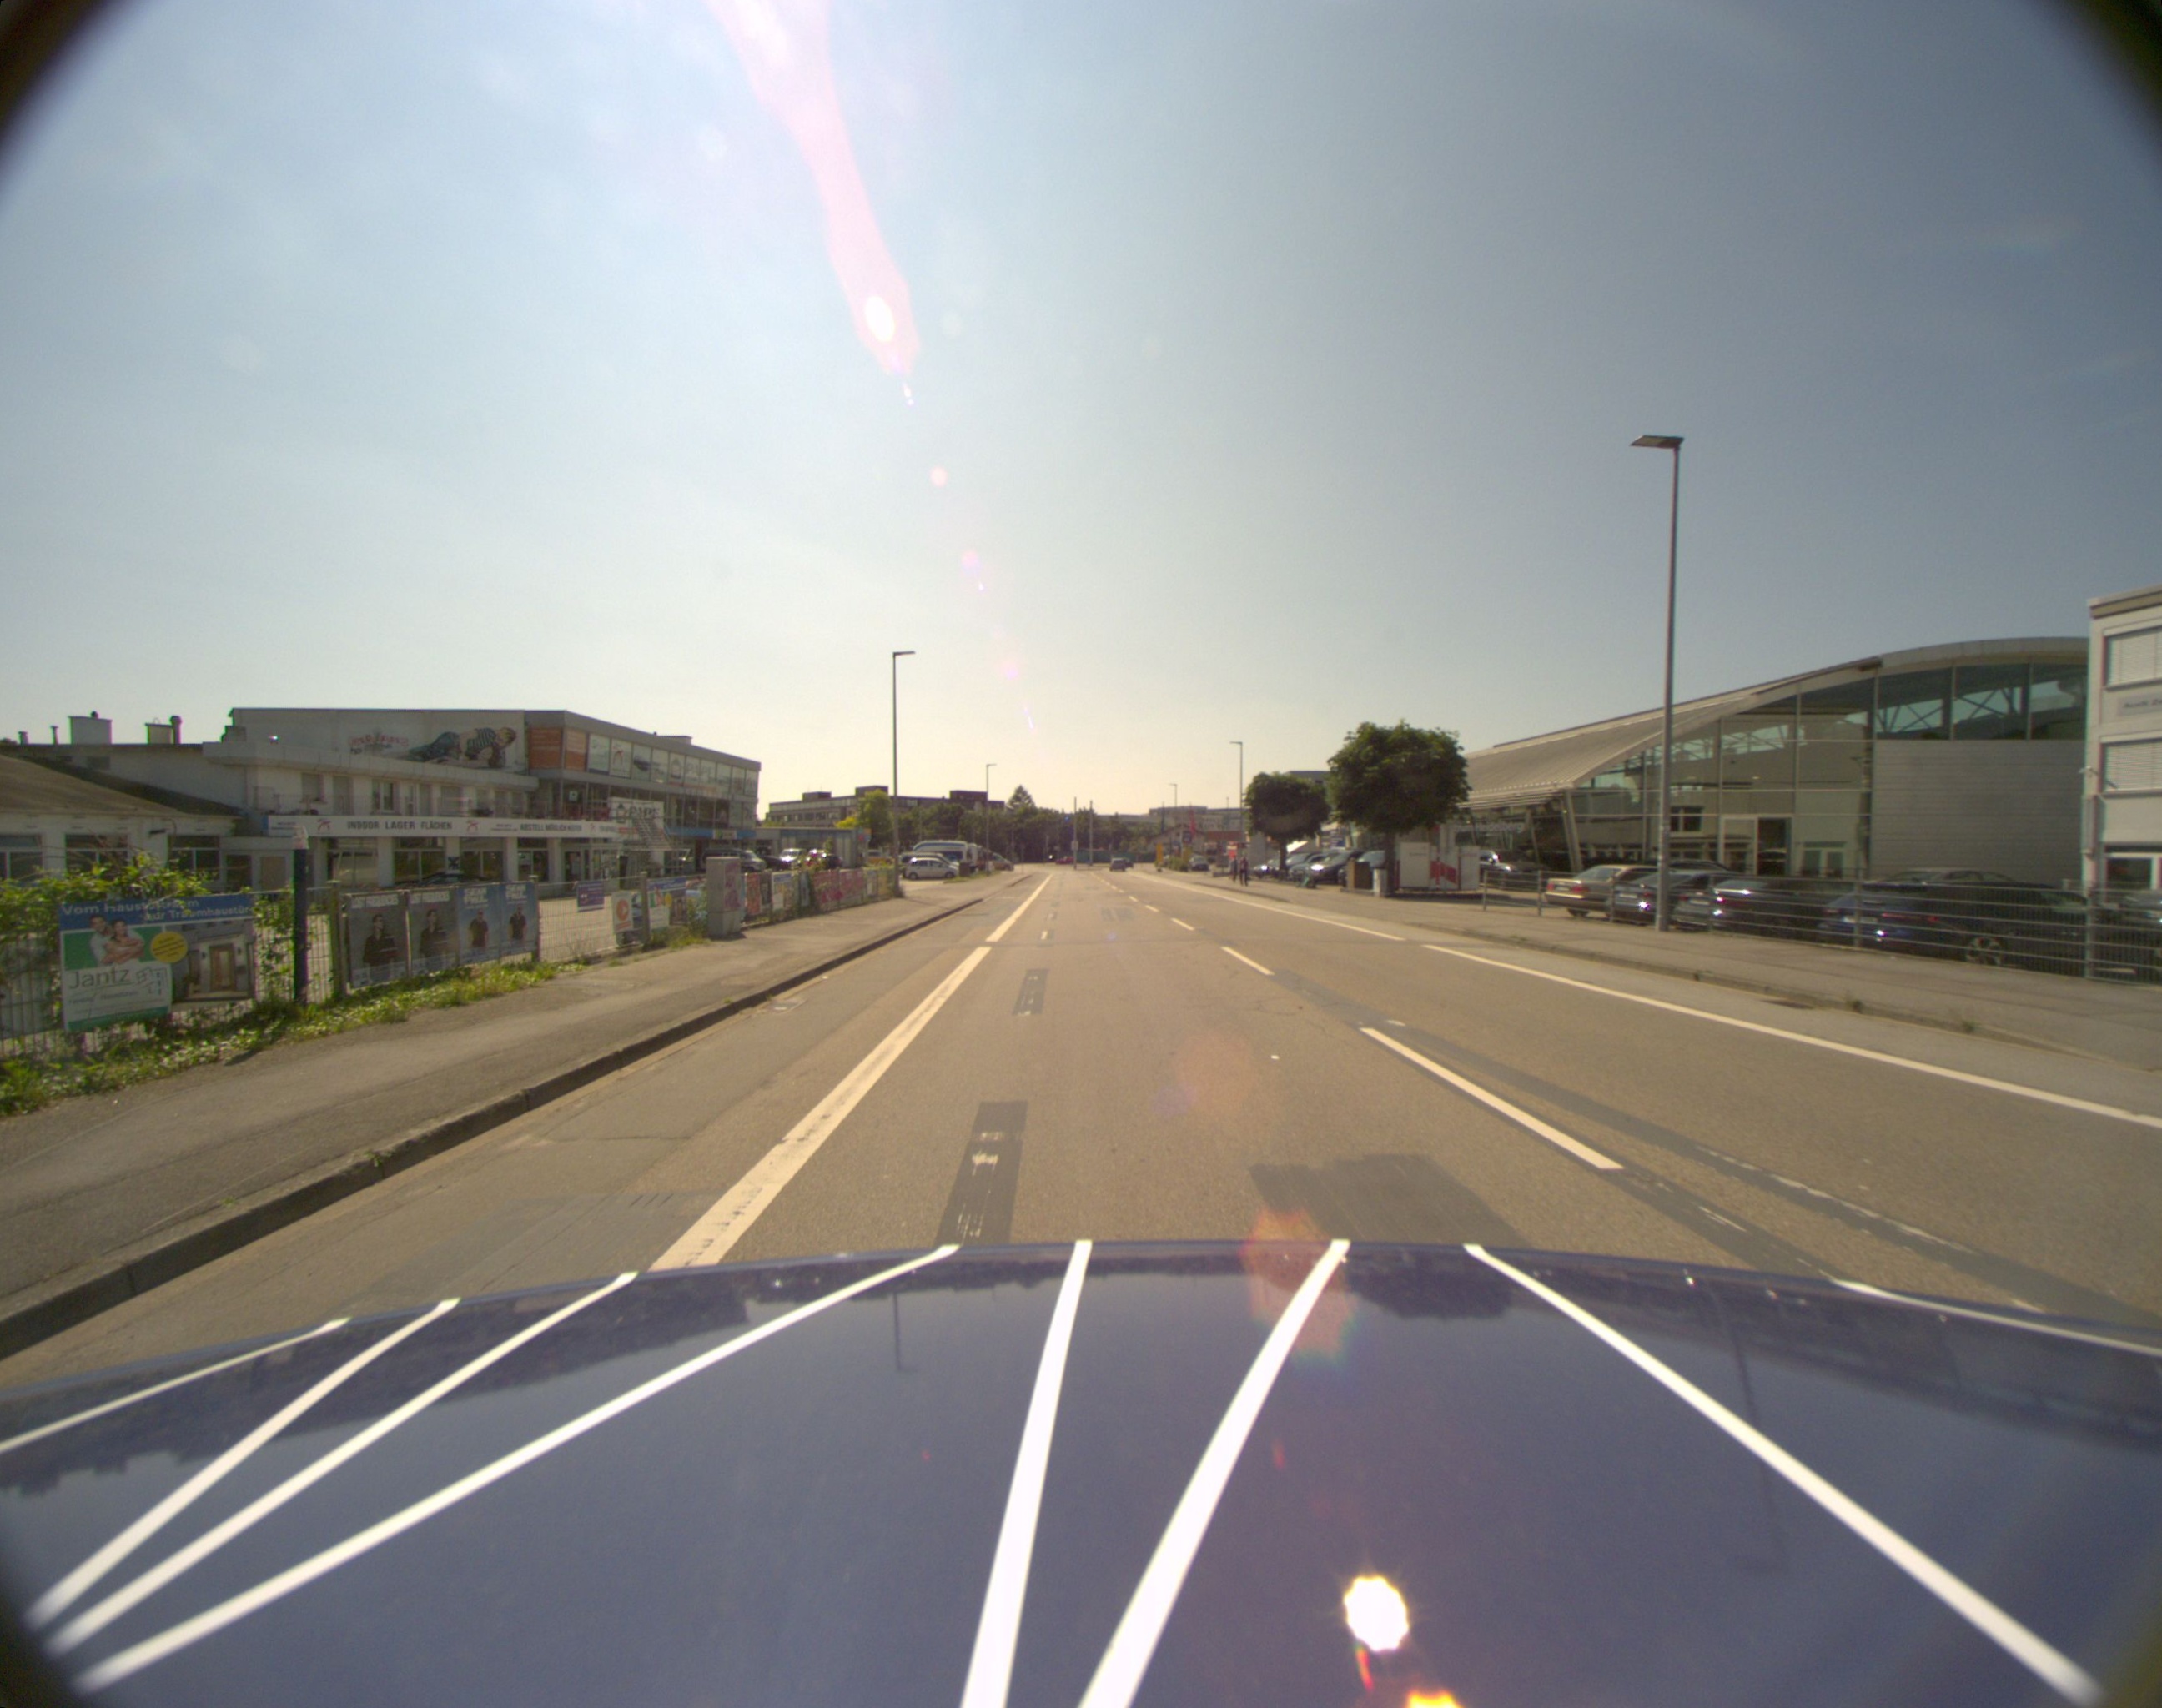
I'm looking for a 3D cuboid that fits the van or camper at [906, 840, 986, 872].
[{"bbox_3d":[-11.470,0.149,64.884,6.366,2.684,2.712,0,0,-1],"label":"van or camper"}]

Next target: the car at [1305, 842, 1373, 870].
[{"bbox_3d":[17.575,0.149,51.993,2.001,1.709,4.725,-4,1,-16],"label":"car"}]

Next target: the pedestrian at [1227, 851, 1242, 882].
[{"bbox_3d":[9.372,0.766,46.410,0.725,1.838,0.911,0,1,0],"label":"pedestrian"}]

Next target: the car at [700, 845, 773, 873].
[{"bbox_3d":[-29.912,0.422,66.127,5.312,2.405,2.325,0,0,-4],"label":"car"}]

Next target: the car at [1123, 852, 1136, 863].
[{"bbox_3d":[6.527,0.496,102.317,1.664,1.446,4.241,2,0,2],"label":"car"}]

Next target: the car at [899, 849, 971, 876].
[{"bbox_3d":[-11.320,0.662,59.310,5.248,1.940,2.000,1,0,-1],"label":"car"}]

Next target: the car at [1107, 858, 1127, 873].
[{"bbox_3d":[4.033,1.295,85.294,1.747,1.396,4.323,8,0,-2],"label":"car"}]

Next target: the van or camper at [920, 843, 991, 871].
[{"bbox_3d":[-11.544,0.247,70.408,6.212,2.510,2.618,0,0,-1],"label":"van or camper"}]

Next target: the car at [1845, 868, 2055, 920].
[{"bbox_3d":[24.989,1.126,21.960,3.997,1.351,1.859,-1,0,-1],"label":"car"}]

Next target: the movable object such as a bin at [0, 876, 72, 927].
[{"bbox_3d":[-32.588,1.428,23.051,1.575,1.447,1.754,-1,0,-6],"label":"movable object such as a bin"}]

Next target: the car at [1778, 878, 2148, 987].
[{"bbox_3d":[14.097,1.200,12.310,3.999,1.482,1.857,0,3,-5],"label":"car"}]

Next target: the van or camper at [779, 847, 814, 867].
[{"bbox_3d":[-28.965,0.272,77.554,2.124,2.002,5.112,0,0,-6],"label":"van or camper"}]

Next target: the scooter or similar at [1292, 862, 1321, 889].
[{"bbox_3d":[10.878,1.021,36.729,0.746,1.240,1.489,-1,0,-9],"label":"scooter or similar"}]

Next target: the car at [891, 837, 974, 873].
[{"bbox_3d":[-12.021,0.061,61.855,6.244,2.853,2.320,0,0,-1],"label":"car"}]

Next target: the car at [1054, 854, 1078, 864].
[{"bbox_3d":[-2.708,0.946,136.329,3.989,1.696,2.004,-1,0,35],"label":"car"}]

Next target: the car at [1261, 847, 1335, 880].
[{"bbox_3d":[13.447,0.548,47.008,4.490,1.599,1.961,-5,-2,-36],"label":"car"}]

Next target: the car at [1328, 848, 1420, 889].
[{"bbox_3d":[13.860,0.652,35.863,4.489,1.698,1.906,-2,1,-36],"label":"car"}]

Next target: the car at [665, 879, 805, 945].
[{"bbox_3d":[-9.708,1.536,21.254,3.819,1.607,1.897,-1,0,36],"label":"car"}]

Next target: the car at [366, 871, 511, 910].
[{"bbox_3d":[-27.211,1.504,32.299,4.563,1.283,1.890,-3,1,-43],"label":"car"}]

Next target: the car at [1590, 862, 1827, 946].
[{"bbox_3d":[14.071,1.088,17.197,3.900,1.436,1.822,-4,3,-2],"label":"car"}]

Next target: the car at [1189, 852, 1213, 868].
[{"bbox_3d":[12.432,0.609,78.962,1.909,1.705,4.000,0,0,1],"label":"car"}]

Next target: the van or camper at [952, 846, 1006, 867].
[{"bbox_3d":[-13.014,0.262,97.238,6.376,2.621,2.526,0,0,-37],"label":"van or camper"}]

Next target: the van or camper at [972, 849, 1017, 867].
[{"bbox_3d":[-10.478,0.470,91.914,4.991,2.033,2.037,0,1,-31],"label":"van or camper"}]

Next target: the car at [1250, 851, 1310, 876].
[{"bbox_3d":[13.188,0.606,50.246,4.169,1.451,1.902,-2,1,-44],"label":"car"}]

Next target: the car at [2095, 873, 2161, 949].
[{"bbox_3d":[24.966,1.201,16.242,4.366,1.544,1.858,-1,0,-4],"label":"car"}]

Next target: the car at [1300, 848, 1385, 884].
[{"bbox_3d":[13.449,0.593,38.981,4.589,1.687,1.854,-1,0,-36],"label":"car"}]

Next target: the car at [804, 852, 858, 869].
[{"bbox_3d":[-23.826,0.611,72.460,4.551,1.668,1.999,0,0,-5],"label":"car"}]

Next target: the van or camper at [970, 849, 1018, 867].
[{"bbox_3d":[-10.141,0.488,88.961,5.145,1.950,1.981,1,1,-31],"label":"van or camper"}]

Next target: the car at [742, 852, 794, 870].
[{"bbox_3d":[-29.515,0.635,71.714,4.117,1.723,1.999,0,0,-5],"label":"car"}]

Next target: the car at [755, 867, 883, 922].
[{"bbox_3d":[-9.556,1.387,27.537,5.033,1.613,2.026,-1,5,42],"label":"car"}]

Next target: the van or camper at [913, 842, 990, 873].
[{"bbox_3d":[-11.470,0.316,67.727,6.366,2.700,2.712,0,0,-1],"label":"van or camper"}]

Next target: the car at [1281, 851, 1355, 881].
[{"bbox_3d":[13.391,0.631,42.859,4.210,1.486,1.869,-3,2,-36],"label":"car"}]

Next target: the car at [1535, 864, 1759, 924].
[{"bbox_3d":[14.694,1.001,19.907,4.536,1.449,1.900,0,0,-3],"label":"car"}]

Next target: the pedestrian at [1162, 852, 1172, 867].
[{"bbox_3d":[9.403,0.611,83.208,0.996,1.676,0.800,0,1,10],"label":"pedestrian"}]

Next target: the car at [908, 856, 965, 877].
[{"bbox_3d":[-10.698,0.919,56.492,3.933,1.584,1.797,0,0,-4],"label":"car"}]

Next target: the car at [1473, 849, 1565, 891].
[{"bbox_3d":[18.340,0.627,32.053,1.997,1.674,4.002,-1,0,7],"label":"car"}]

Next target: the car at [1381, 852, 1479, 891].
[{"bbox_3d":[14.946,0.717,32.505,4.006,1.541,1.855,-1,0,-32],"label":"car"}]

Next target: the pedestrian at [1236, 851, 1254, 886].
[{"bbox_3d":[8.932,0.765,41.353,0.734,1.857,1.047,0,0,0],"label":"pedestrian"}]

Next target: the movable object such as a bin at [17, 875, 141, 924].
[{"bbox_3d":[-32.728,1.462,24.879,1.575,1.447,1.824,-1,0,-6],"label":"movable object such as a bin"}]

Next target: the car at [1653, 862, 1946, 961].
[{"bbox_3d":[13.968,1.084,14.935,3.999,1.435,1.858,6,0,-4],"label":"car"}]
